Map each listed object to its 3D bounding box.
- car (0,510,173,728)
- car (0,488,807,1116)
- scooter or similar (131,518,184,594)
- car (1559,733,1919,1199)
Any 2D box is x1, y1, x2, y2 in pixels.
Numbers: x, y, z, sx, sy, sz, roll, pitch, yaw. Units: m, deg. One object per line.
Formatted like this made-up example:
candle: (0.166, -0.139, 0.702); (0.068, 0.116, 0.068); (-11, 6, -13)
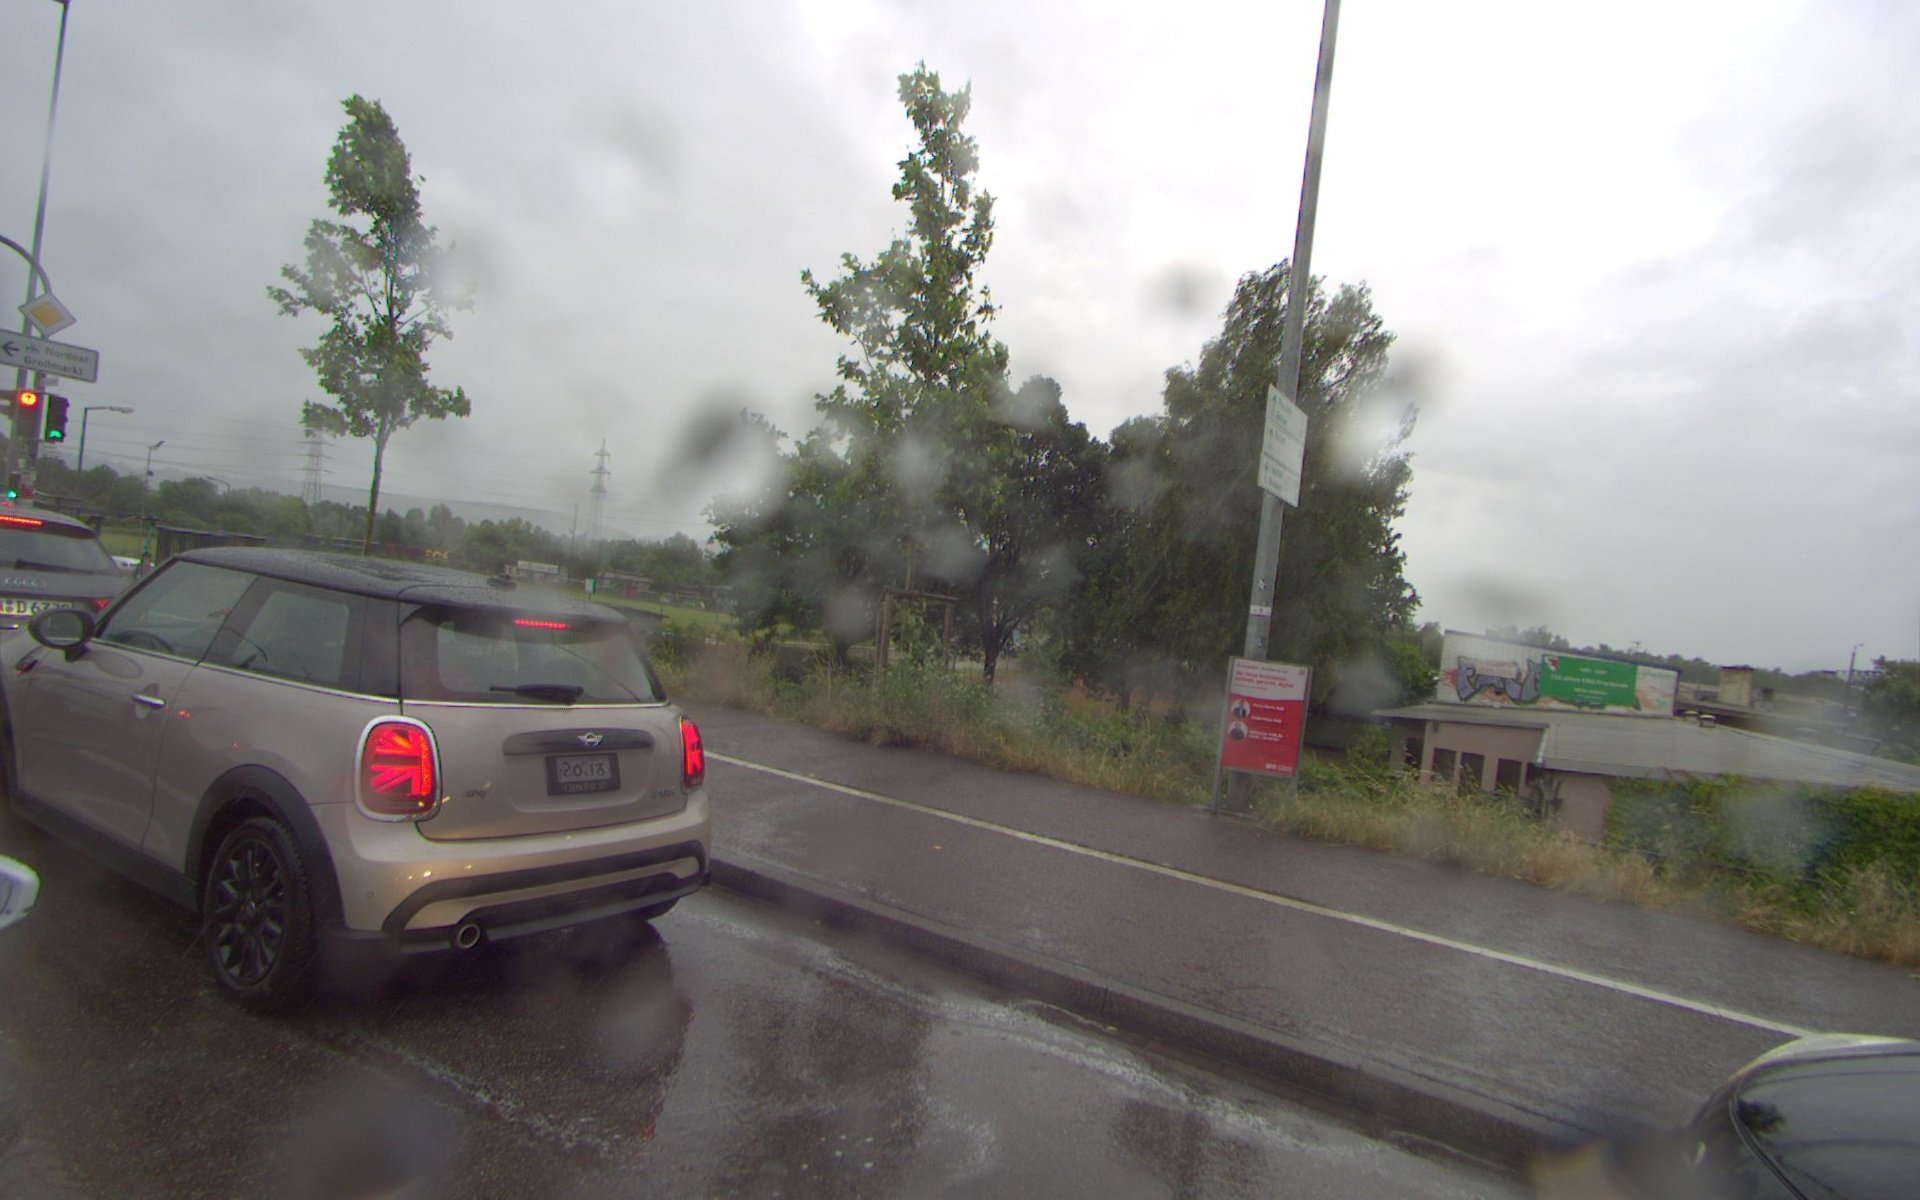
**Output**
car: (-7.496, -0.043, 7.215); (3.563, 1.360, 1.632); (6, -2, 31)
car: (-2.667, 0.495, 4.289); (3.563, 1.525, 1.717); (7, -2, 31)
scooter or similar: (-13.567, -0.752, 17.000); (1.167, 1.171, 0.246); (6, -1, 33)
car: (2.782, 1.182, 1.064); (3.563, 1.445, 1.632); (7, -1, 31)
